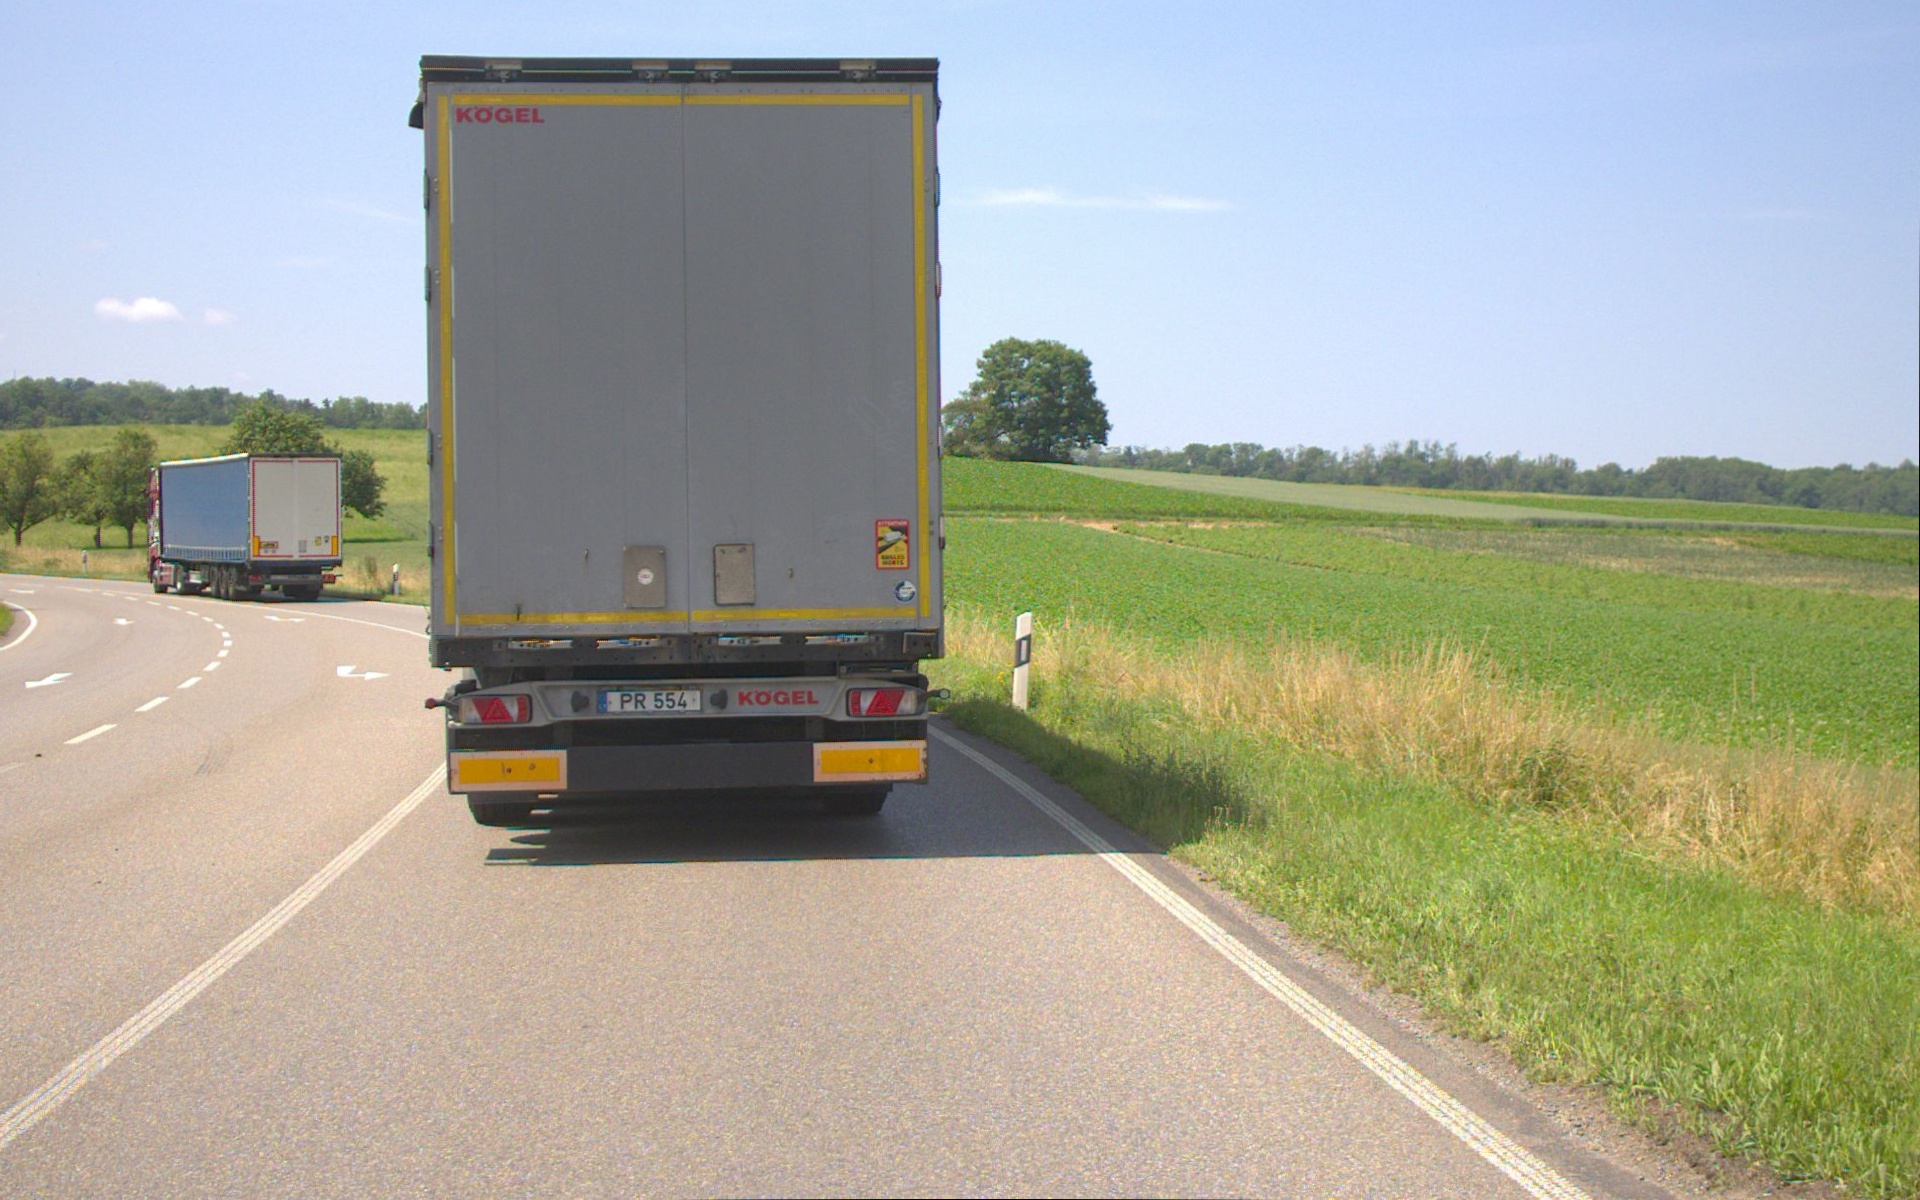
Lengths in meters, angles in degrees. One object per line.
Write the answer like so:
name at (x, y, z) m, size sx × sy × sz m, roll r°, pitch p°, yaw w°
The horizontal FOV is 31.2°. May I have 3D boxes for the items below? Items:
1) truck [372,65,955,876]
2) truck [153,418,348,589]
truck at (-2.069, -0.710, 21.611) m, size 2.807 × 3.932 × 9.593 m, roll -1°, pitch 1°, yaw -8°
truck at (-20.897, -2.654, 100.284) m, size 2.960 × 4.568 × 16.320 m, roll 0°, pitch 0°, yaw -21°
